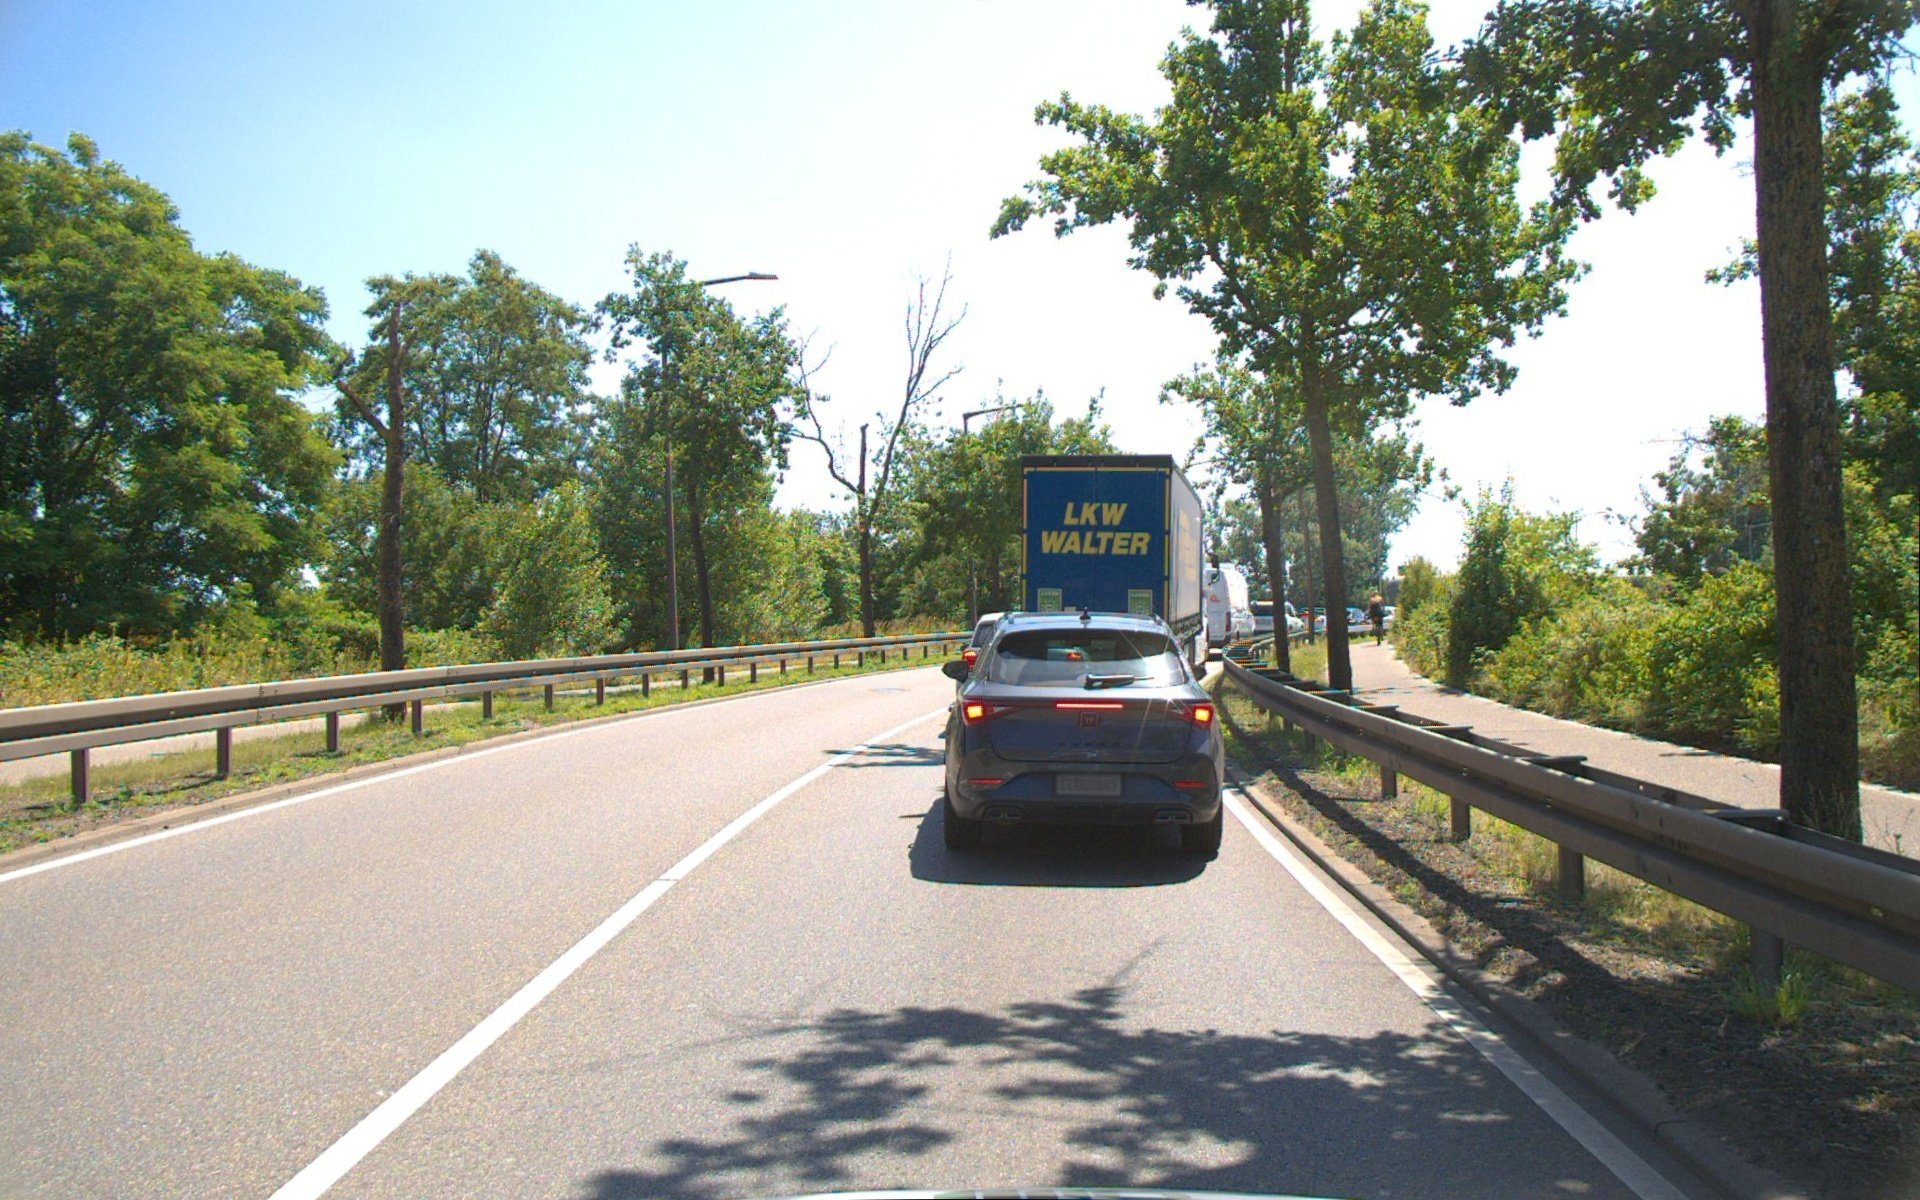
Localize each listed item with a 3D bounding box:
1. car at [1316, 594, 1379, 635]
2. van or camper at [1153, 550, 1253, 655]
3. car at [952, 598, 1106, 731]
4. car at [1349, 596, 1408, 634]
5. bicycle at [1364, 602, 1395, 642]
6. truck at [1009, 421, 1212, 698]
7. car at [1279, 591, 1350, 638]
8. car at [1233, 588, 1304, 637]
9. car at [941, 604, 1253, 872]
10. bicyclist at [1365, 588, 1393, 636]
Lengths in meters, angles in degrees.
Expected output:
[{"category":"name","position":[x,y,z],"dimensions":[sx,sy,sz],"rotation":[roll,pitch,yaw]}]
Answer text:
[{"category":"car","position":[17.575,0.662,74.845],"dimensions":[1.953,1.747,4.867],"rotation":[0,0,23]},{"category":"van or camper","position":[7.619,0.092,51.286],"dimensions":[2.414,3.051,6.090],"rotation":[0,0,15]},{"category":"car","position":[0.917,0.765,21.249],"dimensions":[1.771,1.534,4.002],"rotation":[1,0,3]},{"category":"car","position":[20.555,0.736,81.120],"dimensions":[1.954,1.799,4.751],"rotation":[0,-1,25]},{"category":"bicycle","position":[13.678,0.706,53.969],"dimensions":[0.842,1.258,2.311],"rotation":[0,0,11]},{"category":"truck","position":[3.740,-0.606,35.626],"dimensions":[2.887,4.527,16.811],"rotation":[0,0,10]},{"category":"car","position":[14.629,0.609,68.051],"dimensions":[1.953,1.840,4.844],"rotation":[0,-1,23]},{"category":"car","position":[11.460,0.465,61.215],"dimensions":[1.952,1.742,4.621],"rotation":[0,0,19]},{"category":"car","position":[0.846,0.775,11.099],"dimensions":[1.708,1.457,3.881],"rotation":[1,0,3]},{"category":"bicyclist","position":[13.674,0.392,53.967],"dimensions":[0.842,1.550,0.981],"rotation":[0,-1,11]}]
